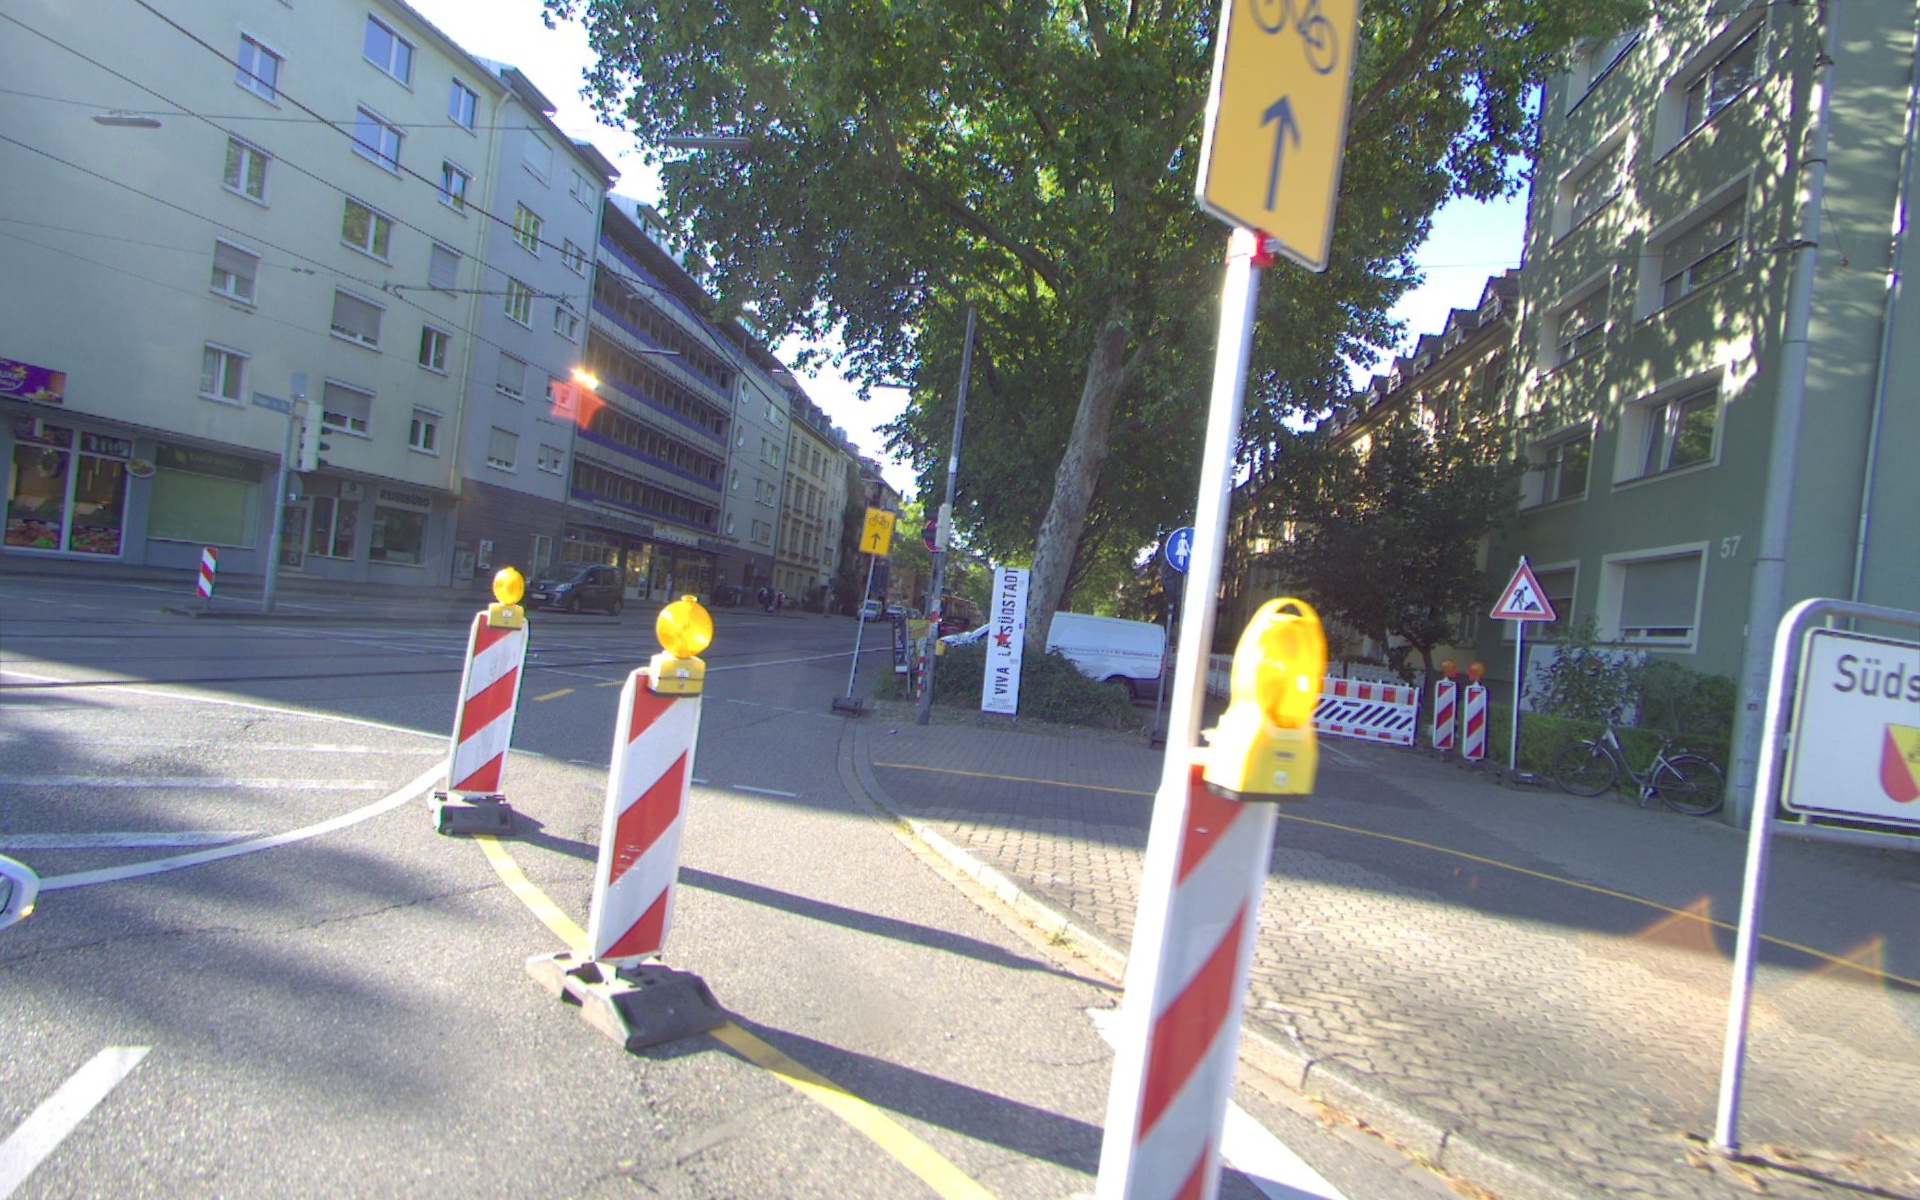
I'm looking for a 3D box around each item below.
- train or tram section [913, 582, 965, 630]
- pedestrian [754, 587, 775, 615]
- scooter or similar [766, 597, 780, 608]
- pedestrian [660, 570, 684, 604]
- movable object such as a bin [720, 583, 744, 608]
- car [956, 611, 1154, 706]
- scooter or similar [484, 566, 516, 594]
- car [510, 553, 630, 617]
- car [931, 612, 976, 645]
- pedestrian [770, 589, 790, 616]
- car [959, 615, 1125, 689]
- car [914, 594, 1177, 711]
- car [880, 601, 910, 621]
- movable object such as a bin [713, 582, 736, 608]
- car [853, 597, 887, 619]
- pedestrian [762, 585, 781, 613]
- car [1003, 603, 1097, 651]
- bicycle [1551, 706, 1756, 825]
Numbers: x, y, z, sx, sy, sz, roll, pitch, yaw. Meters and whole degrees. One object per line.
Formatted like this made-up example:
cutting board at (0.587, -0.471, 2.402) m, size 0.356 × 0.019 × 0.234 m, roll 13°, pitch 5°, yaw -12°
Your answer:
train or tram section at (-1.700, 0.646, 88.889) m, size 2.816 × 3.682 × 13.204 m, roll 7°, pitch -1°, yaw 5°
pedestrian at (-12.641, 0.076, 65.127) m, size 0.878 × 1.644 × 1.035 m, roll 7°, pitch 0°, yaw 7°
scooter or similar at (-12.013, 0.171, 64.638) m, size 0.614 × 0.656 × 0.766 m, roll 7°, pitch 0°, yaw 7°
pedestrian at (-15.760, -0.712, 55.013) m, size 1.016 × 1.683 × 1.224 m, roll 7°, pitch 0°, yaw -13°
movable object such as a bin at (-14.561, -0.299, 64.192) m, size 0.997 × 1.446 × 1.257 m, roll 7°, pitch 0°, yaw 7°
car at (2.262, 1.342, 23.883) m, size 4.337 × 1.621 × 1.944 m, roll 7°, pitch 0°, yaw 7°
scooter or similar at (-17.434, -0.754, 38.151) m, size 0.459 × 0.965 × 1.431 m, roll 7°, pitch 0°, yaw 0°
car at (-13.175, -0.440, 34.289) m, size 1.879 × 1.828 × 4.364 m, roll 7°, pitch 0°, yaw 6°
car at (-0.331, 1.629, 56.559) m, size 1.863 × 1.582 × 4.397 m, roll 7°, pitch -2°, yaw 7°
pedestrian at (-11.680, 0.175, 65.385) m, size 0.878 × 1.644 × 1.035 m, roll 7°, pitch 0°, yaw 7°
car at (2.362, 1.482, 29.195) m, size 4.513 × 1.524 × 1.920 m, roll 7°, pitch 0°, yaw 4°
car at (1.790, 1.092, 21.260) m, size 5.137 × 1.848 × 1.932 m, roll 5°, pitch -1°, yaw 6°
car at (-6.049, 1.025, 94.081) m, size 1.863 × 1.583 × 4.395 m, roll 7°, pitch -1°, yaw 6°
movable object such as a bin at (-14.672, -0.305, 62.758) m, size 0.997 × 1.446 × 1.145 m, roll 7°, pitch 0°, yaw 2°
car at (-7.410, 0.707, 83.581) m, size 1.863 × 1.583 × 4.395 m, roll 7°, pitch -1°, yaw 6°
pedestrian at (-13.736, -0.051, 73.354) m, size 0.878 × 1.887 × 0.789 m, roll 7°, pitch 0°, yaw 11°
car at (5.935, 1.787, 66.132) m, size 5.851 × 2.395 × 2.062 m, roll 7°, pitch 0°, yaw 7°
bicycle at (8.436, 1.984, 12.320) m, size 0.517 × 1.070 × 1.913 m, roll 7°, pitch 0°, yaw -40°
